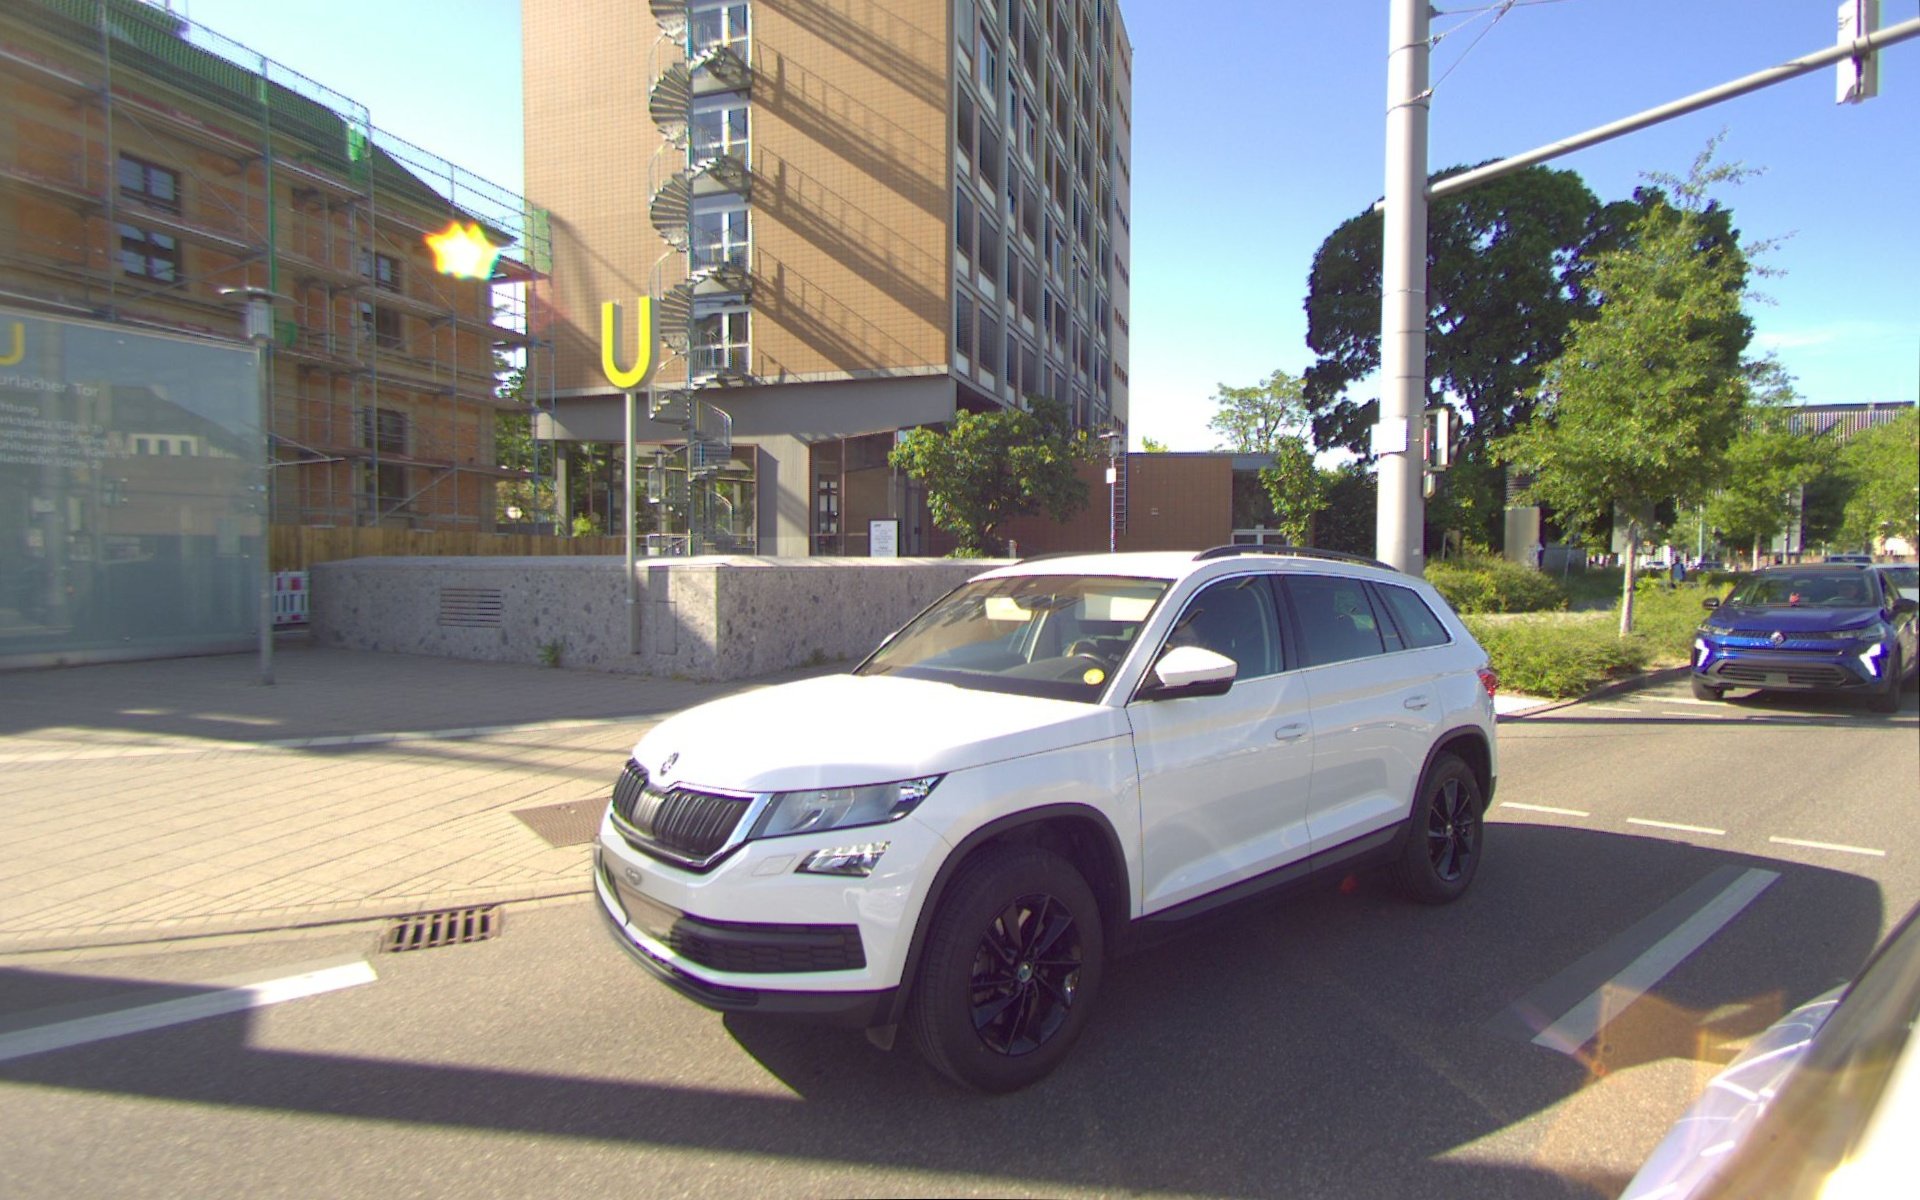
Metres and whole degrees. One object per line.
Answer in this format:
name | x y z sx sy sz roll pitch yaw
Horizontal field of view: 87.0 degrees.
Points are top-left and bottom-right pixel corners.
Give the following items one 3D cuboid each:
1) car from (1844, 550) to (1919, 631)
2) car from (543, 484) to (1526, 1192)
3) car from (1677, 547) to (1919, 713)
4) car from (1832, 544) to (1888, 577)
car | 20.837 -0.247 22.049 3.944 1.650 1.884 -2 1 -41
car | 0.659 0.553 4.510 4.319 1.666 1.867 0 0 -40
car | 10.266 0.237 12.112 3.944 1.650 1.884 -2 1 -41
car | 43.187 -1.886 48.609 1.914 1.476 4.600 -1 1 41
